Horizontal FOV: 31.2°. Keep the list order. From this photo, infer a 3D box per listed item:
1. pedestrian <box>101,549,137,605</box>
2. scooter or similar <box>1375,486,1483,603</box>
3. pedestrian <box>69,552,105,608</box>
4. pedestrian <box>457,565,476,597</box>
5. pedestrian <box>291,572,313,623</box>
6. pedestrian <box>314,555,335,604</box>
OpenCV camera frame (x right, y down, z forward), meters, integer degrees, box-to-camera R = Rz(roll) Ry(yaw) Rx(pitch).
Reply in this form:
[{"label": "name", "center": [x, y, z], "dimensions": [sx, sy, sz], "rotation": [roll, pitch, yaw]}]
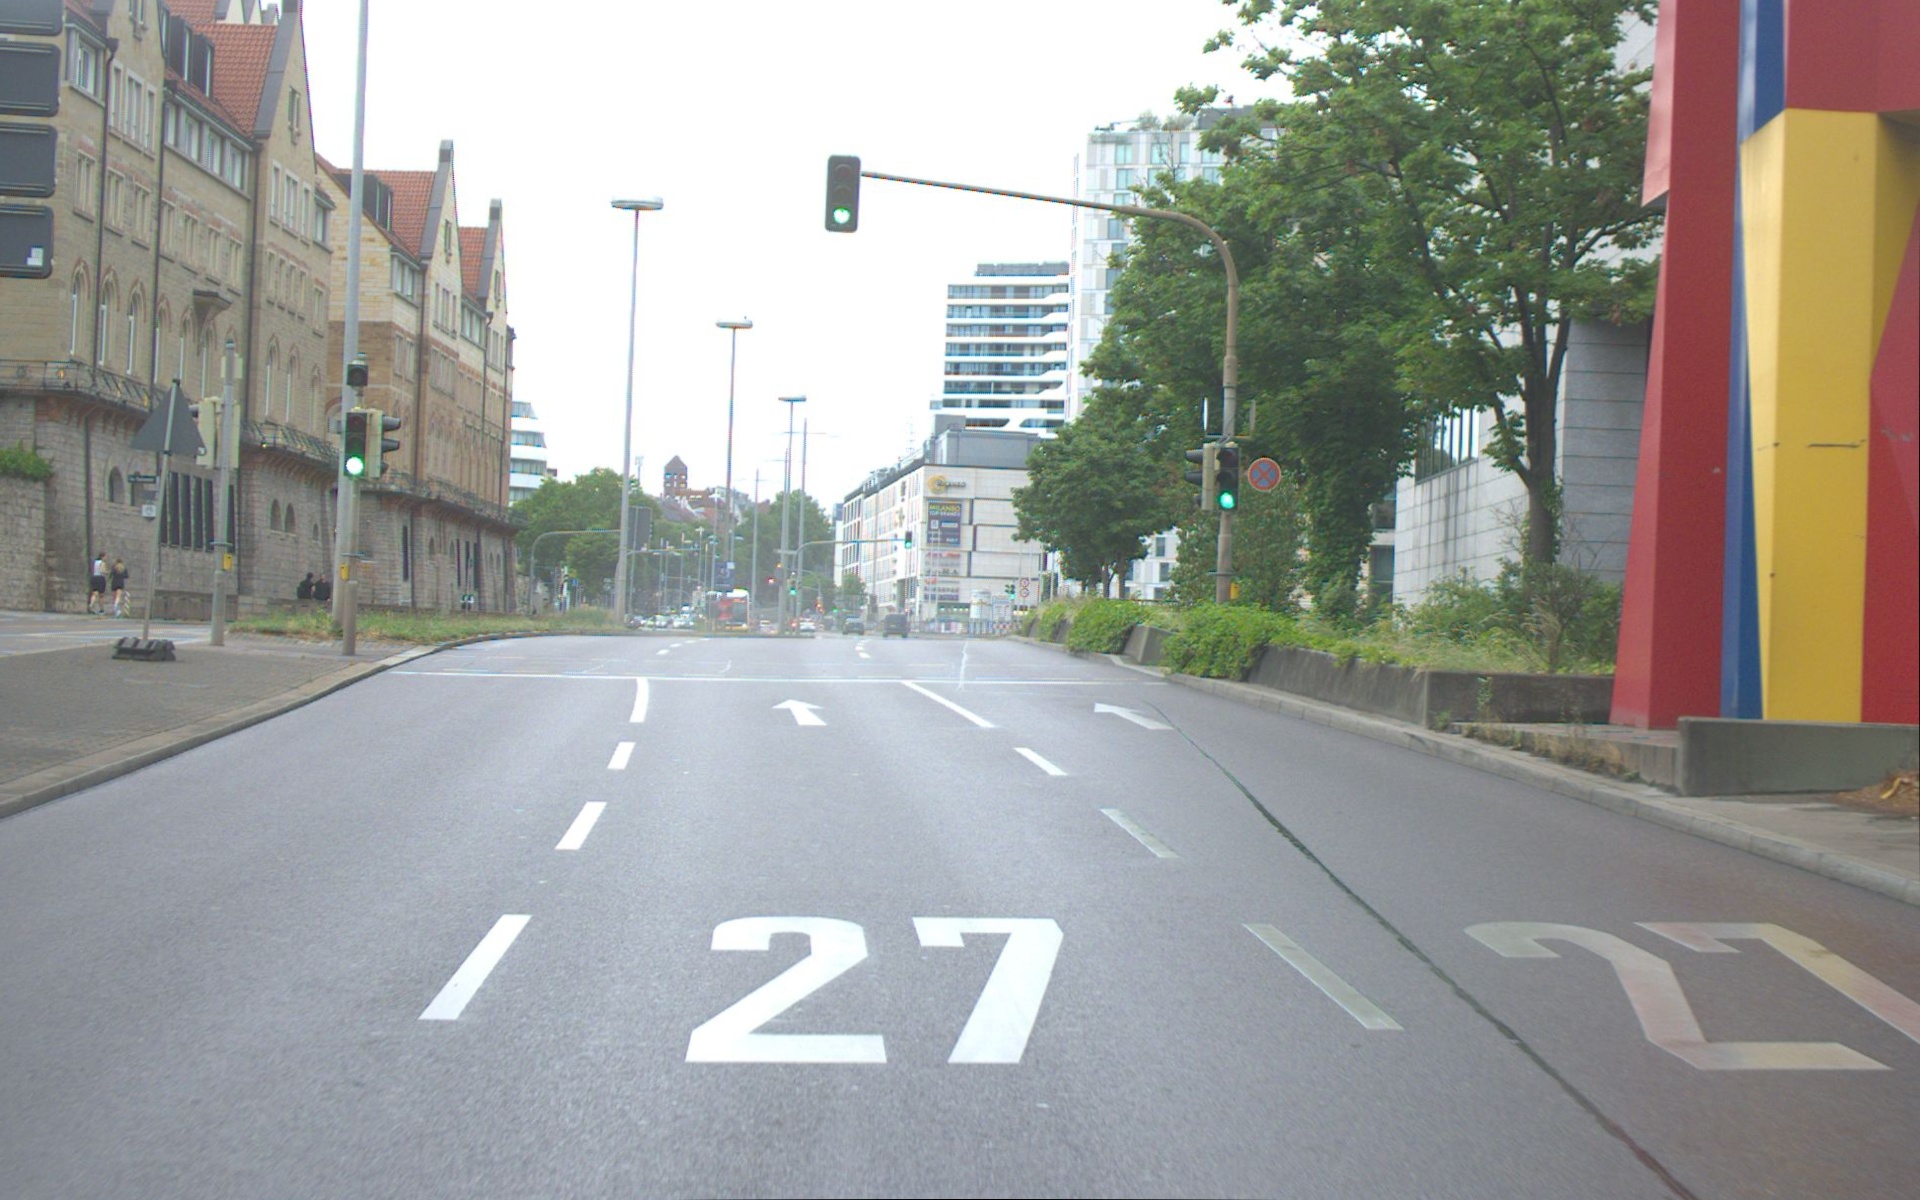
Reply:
[{"label": "pedestrian", "center": [-22.385, -0.610, 91.506], "dimensions": [0.754, 1.473, 0.714], "rotation": [1, 1, 0]}, {"label": "scooter or similar", "center": [6.341, -0.751, 46.518], "dimensions": [1.323, 1.525, 0.502], "rotation": [3, 1, 2]}, {"label": "pedestrian", "center": [-23.233, -0.524, 91.512], "dimensions": [0.754, 1.473, 0.714], "rotation": [1, 1, 0]}, {"label": "pedestrian", "center": [-22.911, -0.869, 159.693], "dimensions": [0.754, 1.473, 0.714], "rotation": [1, 1, 0]}, {"label": "pedestrian", "center": [-22.733, -0.096, 118.859], "dimensions": [0.640, 1.740, 0.621], "rotation": [1, 1, -2]}, {"label": "pedestrian", "center": [-22.953, -0.737, 124.198], "dimensions": [0.640, 1.740, 0.621], "rotation": [1, 1, -2]}]
